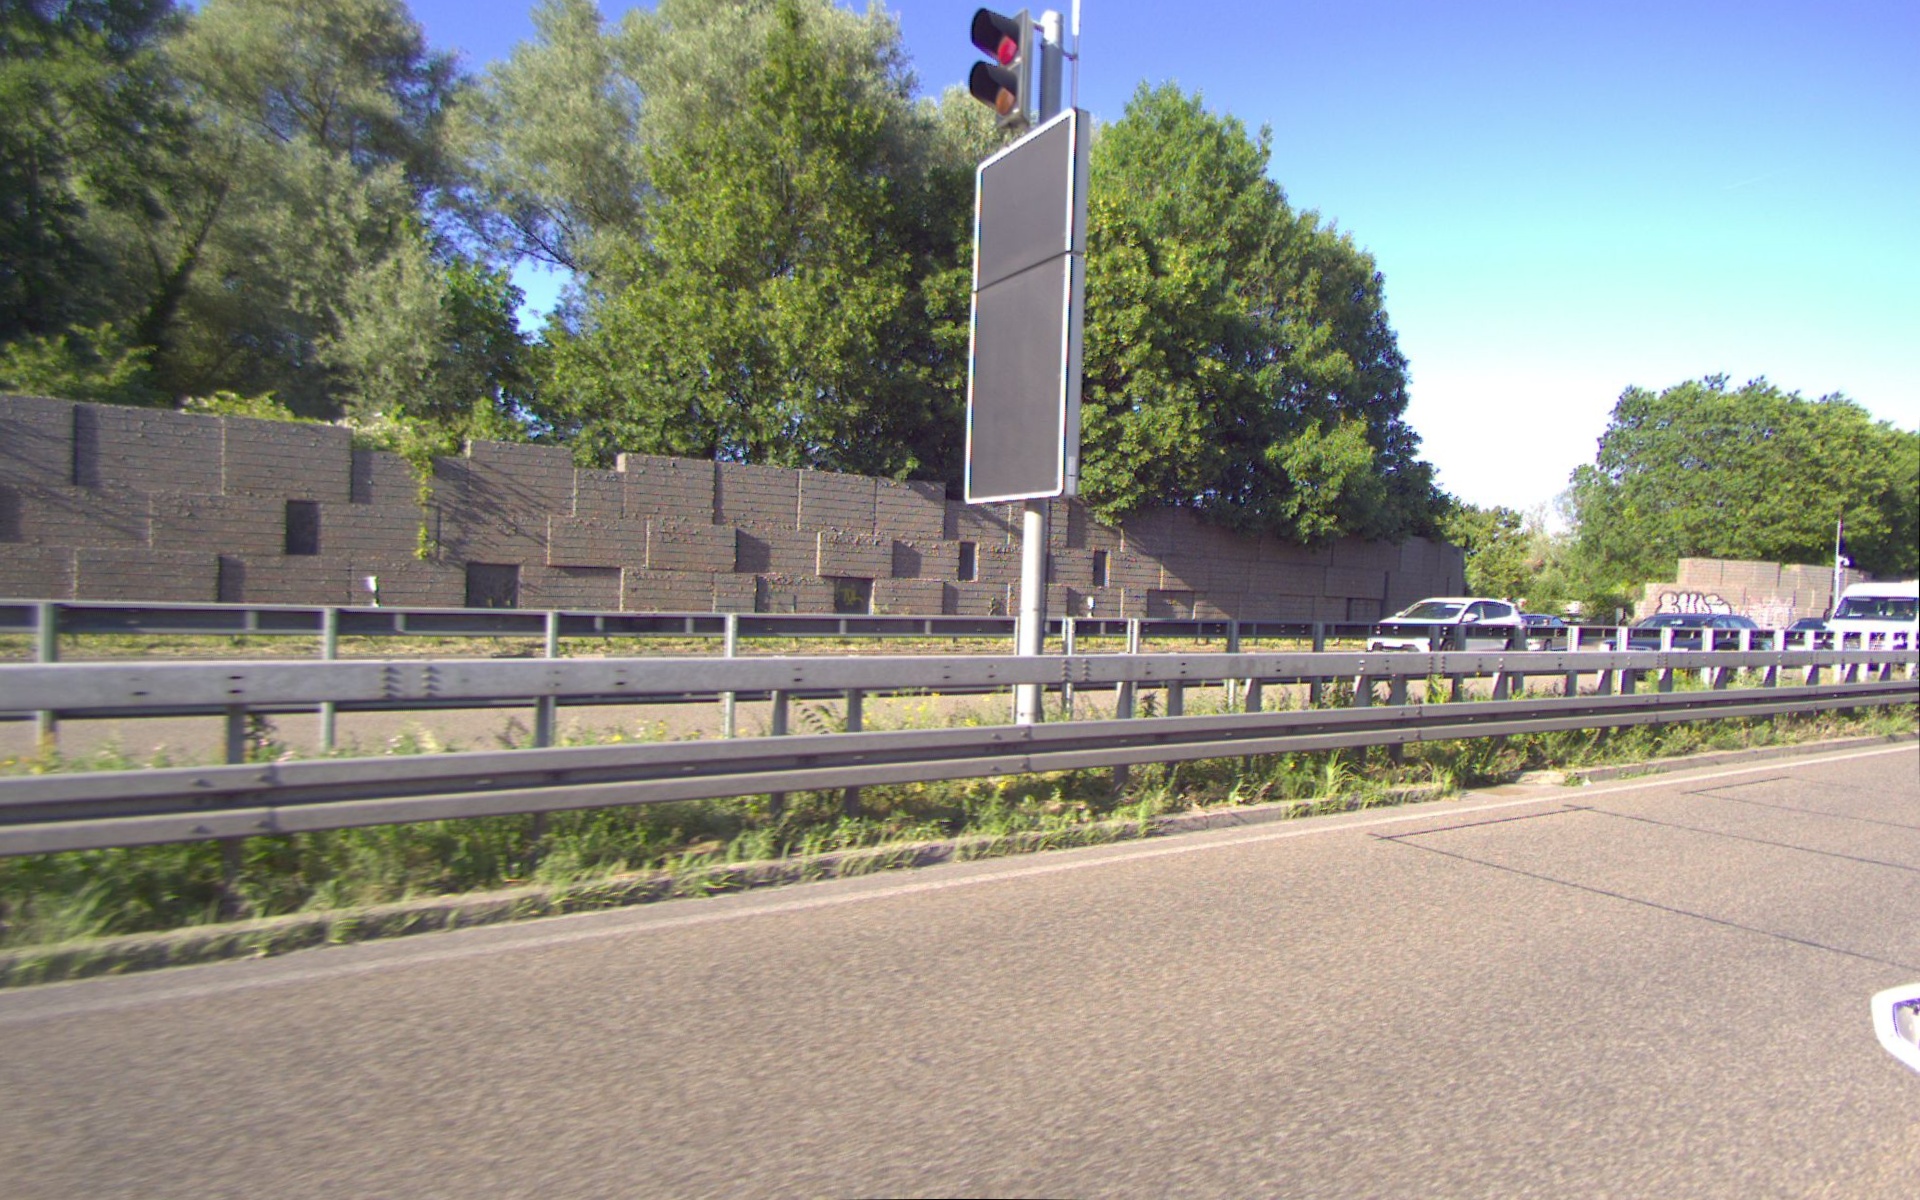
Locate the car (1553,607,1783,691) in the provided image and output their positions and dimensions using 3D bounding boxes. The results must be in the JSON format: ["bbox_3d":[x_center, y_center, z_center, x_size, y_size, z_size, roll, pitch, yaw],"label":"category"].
[{"bbox_3d":[14.867,0.956,21.028,5.029,1.453,1.983,1,3,-30],"label":"car"}]

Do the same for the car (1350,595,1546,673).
[{"bbox_3d":[11.746,0.764,24.122,4.567,1.617,1.983,1,3,-30],"label":"car"}]

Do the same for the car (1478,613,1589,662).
[{"bbox_3d":[19.635,1.241,34.355,3.995,1.406,1.977,0,3,-40],"label":"car"}]

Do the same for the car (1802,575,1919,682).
[{"bbox_3d":[27.049,0.766,28.921,6.510,2.720,2.110,1,3,-30],"label":"car"}]

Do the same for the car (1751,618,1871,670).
[{"bbox_3d":[30.771,1.539,36.282,4.643,1.642,1.891,1,3,-32],"label":"car"}]
